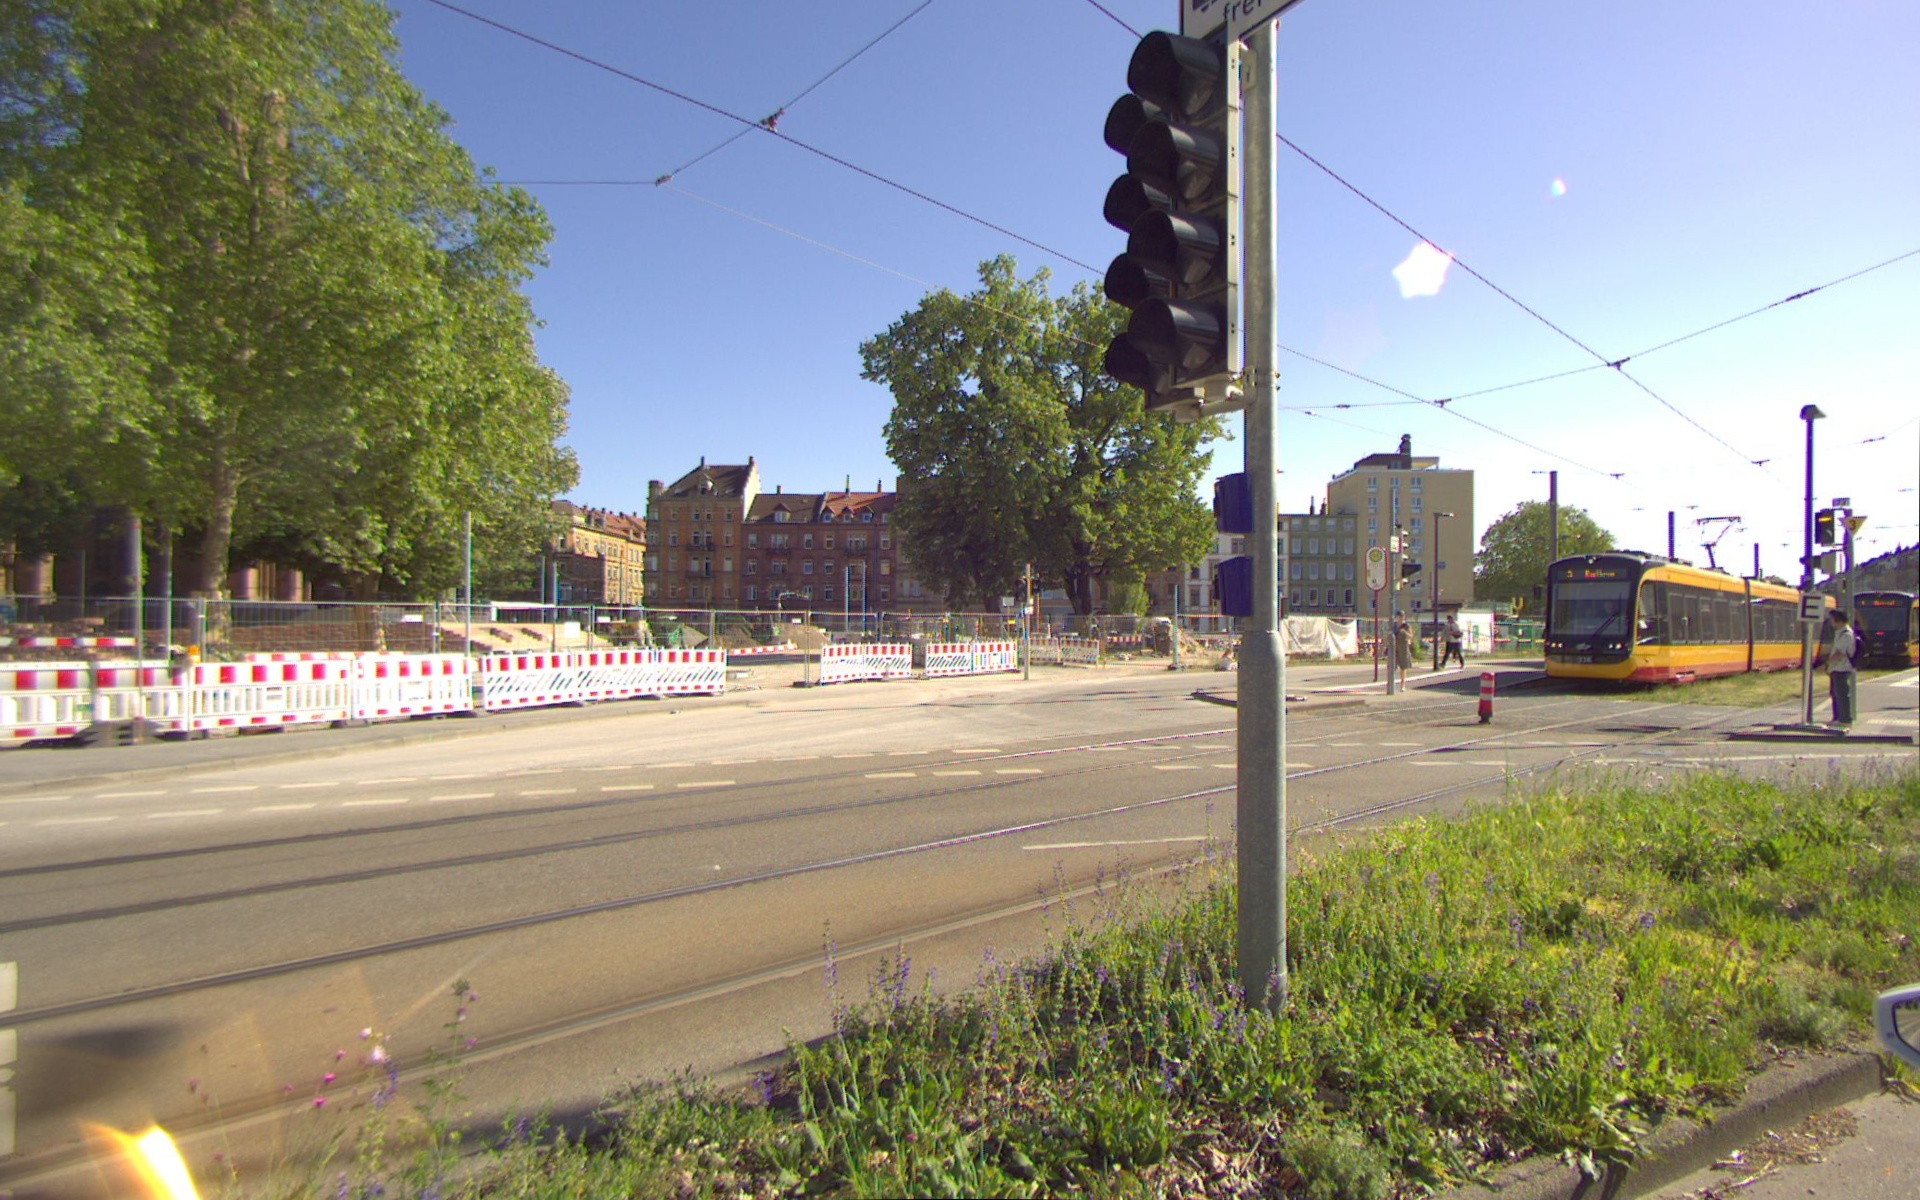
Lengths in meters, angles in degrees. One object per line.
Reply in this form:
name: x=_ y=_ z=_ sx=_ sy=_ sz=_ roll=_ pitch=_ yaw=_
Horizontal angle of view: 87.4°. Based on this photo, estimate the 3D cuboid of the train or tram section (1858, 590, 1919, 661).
train or tram section: x=50.895 y=1.389 z=54.163 sx=10.470 sy=3.554 sz=2.843 roll=2 pitch=-1 yaw=-44

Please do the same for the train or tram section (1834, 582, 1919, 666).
train or tram section: x=43.311 y=1.149 z=46.899 sx=10.470 sy=3.554 sz=2.843 roll=2 pitch=-1 yaw=-44

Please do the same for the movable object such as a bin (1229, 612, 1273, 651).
movable object such as a bin: x=21.922 y=2.367 z=75.783 sx=1.798 sy=2.833 sz=3.998 roll=2 pitch=-1 yaw=-4

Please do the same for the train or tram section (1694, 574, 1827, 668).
train or tram section: x=34.333 y=0.907 z=42.856 sx=11.129 sy=3.554 sz=2.790 roll=2 pitch=-1 yaw=-43

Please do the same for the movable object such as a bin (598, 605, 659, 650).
movable object such as a bin: x=-25.153 y=2.097 z=76.496 sx=3.060 sy=3.215 sz=5.244 roll=2 pitch=-1 yaw=-4

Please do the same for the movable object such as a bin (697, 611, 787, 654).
movable object such as a bin: x=-15.730 y=2.339 z=72.677 sx=5.967 sy=2.795 sz=1.894 roll=2 pitch=-1 yaw=-2

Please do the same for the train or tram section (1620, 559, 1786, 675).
train or tram section: x=26.453 y=0.642 z=35.478 sx=10.535 sy=3.554 sz=2.790 roll=2 pitch=-1 yaw=-43

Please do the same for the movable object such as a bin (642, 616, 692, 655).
movable object such as a bin: x=-18.908 y=2.283 z=65.058 sx=1.857 sy=2.377 sz=4.230 roll=2 pitch=-1 yaw=1

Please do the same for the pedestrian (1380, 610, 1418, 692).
pedestrian: x=10.357 y=1.180 z=23.722 sx=0.749 sy=1.875 sz=0.902 roll=-1 pitch=1 yaw=20

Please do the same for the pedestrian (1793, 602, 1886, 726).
pedestrian: x=13.796 y=0.981 z=15.782 sx=1.003 sy=1.856 sz=0.758 roll=1 pitch=-1 yaw=37

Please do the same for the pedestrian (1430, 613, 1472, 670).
pedestrian: x=15.693 y=1.318 z=32.102 sx=0.964 sy=1.791 sz=0.856 roll=1 pitch=-2 yaw=-36

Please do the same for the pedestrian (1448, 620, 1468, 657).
pedestrian: x=24.297 y=1.895 z=49.029 sx=0.795 sy=1.791 sz=0.661 roll=2 pitch=-2 yaw=-44

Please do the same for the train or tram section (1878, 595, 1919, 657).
train or tram section: x=58.495 y=1.612 z=61.380 sx=10.470 sy=3.554 sz=2.843 roll=2 pitch=-1 yaw=-44

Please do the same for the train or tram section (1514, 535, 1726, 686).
train or tram section: x=18.849 y=0.390 z=28.260 sx=10.408 sy=3.554 sz=2.790 roll=2 pitch=-2 yaw=-44
